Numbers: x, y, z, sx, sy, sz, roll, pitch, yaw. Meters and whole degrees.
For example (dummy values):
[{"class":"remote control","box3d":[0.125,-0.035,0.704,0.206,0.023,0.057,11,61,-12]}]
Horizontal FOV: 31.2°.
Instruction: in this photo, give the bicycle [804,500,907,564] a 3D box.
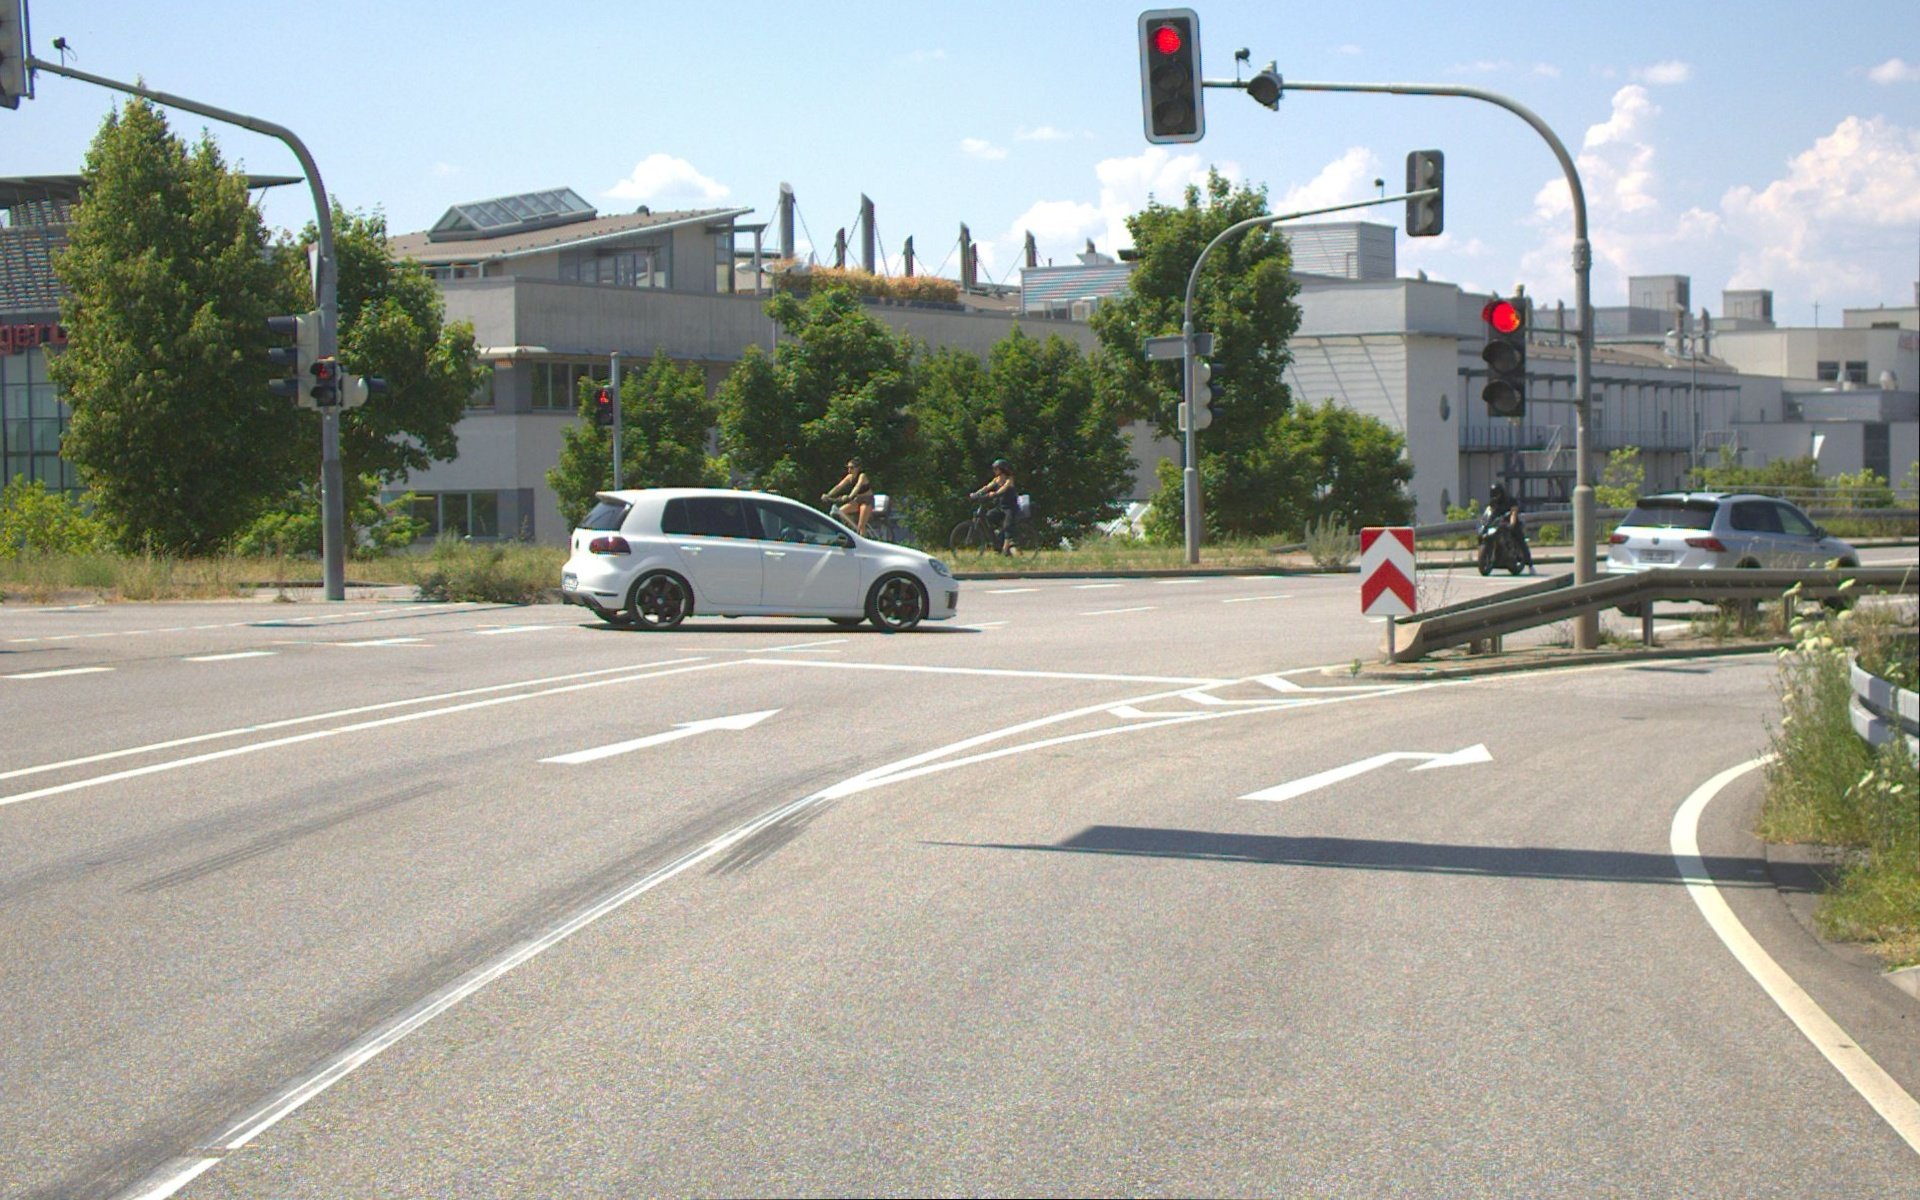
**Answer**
[{"class":"bicycle","box3d":[-1.720,-1.123,56.852,1.827,1.021,0.415,-1,4,-41]}]

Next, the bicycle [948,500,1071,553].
[{"class":"bicycle","box3d":[0.836,-1.233,57.632,2.120,0.849,0.535,0,3,-34]}]

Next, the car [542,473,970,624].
[{"class":"car","box3d":[-2.183,-0.552,36.397,4.120,1.481,2.001,1,2,-18]}]

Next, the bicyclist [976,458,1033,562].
[{"class":"bicyclist","box3d":[0.749,-1.506,57.551,0.728,1.711,0.531,0,3,-34]}]

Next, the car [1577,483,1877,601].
[{"class":"car","box3d":[10.274,-0.785,45.840,1.998,1.500,4.385,0,1,42]}]

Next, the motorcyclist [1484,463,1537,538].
[{"class":"motorcyclist","box3d":[9.810,-1.769,61.214,0.676,1.298,0.722,0,1,34]}]

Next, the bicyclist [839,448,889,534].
[{"class":"bicyclist","box3d":[-1.597,-1.797,56.932,0.683,1.399,0.408,0,3,-42]}]

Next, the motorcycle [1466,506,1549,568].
[{"class":"motorcycle","box3d":[9.749,-1.133,61.141,0.563,1.076,2.280,1,2,34]}]
